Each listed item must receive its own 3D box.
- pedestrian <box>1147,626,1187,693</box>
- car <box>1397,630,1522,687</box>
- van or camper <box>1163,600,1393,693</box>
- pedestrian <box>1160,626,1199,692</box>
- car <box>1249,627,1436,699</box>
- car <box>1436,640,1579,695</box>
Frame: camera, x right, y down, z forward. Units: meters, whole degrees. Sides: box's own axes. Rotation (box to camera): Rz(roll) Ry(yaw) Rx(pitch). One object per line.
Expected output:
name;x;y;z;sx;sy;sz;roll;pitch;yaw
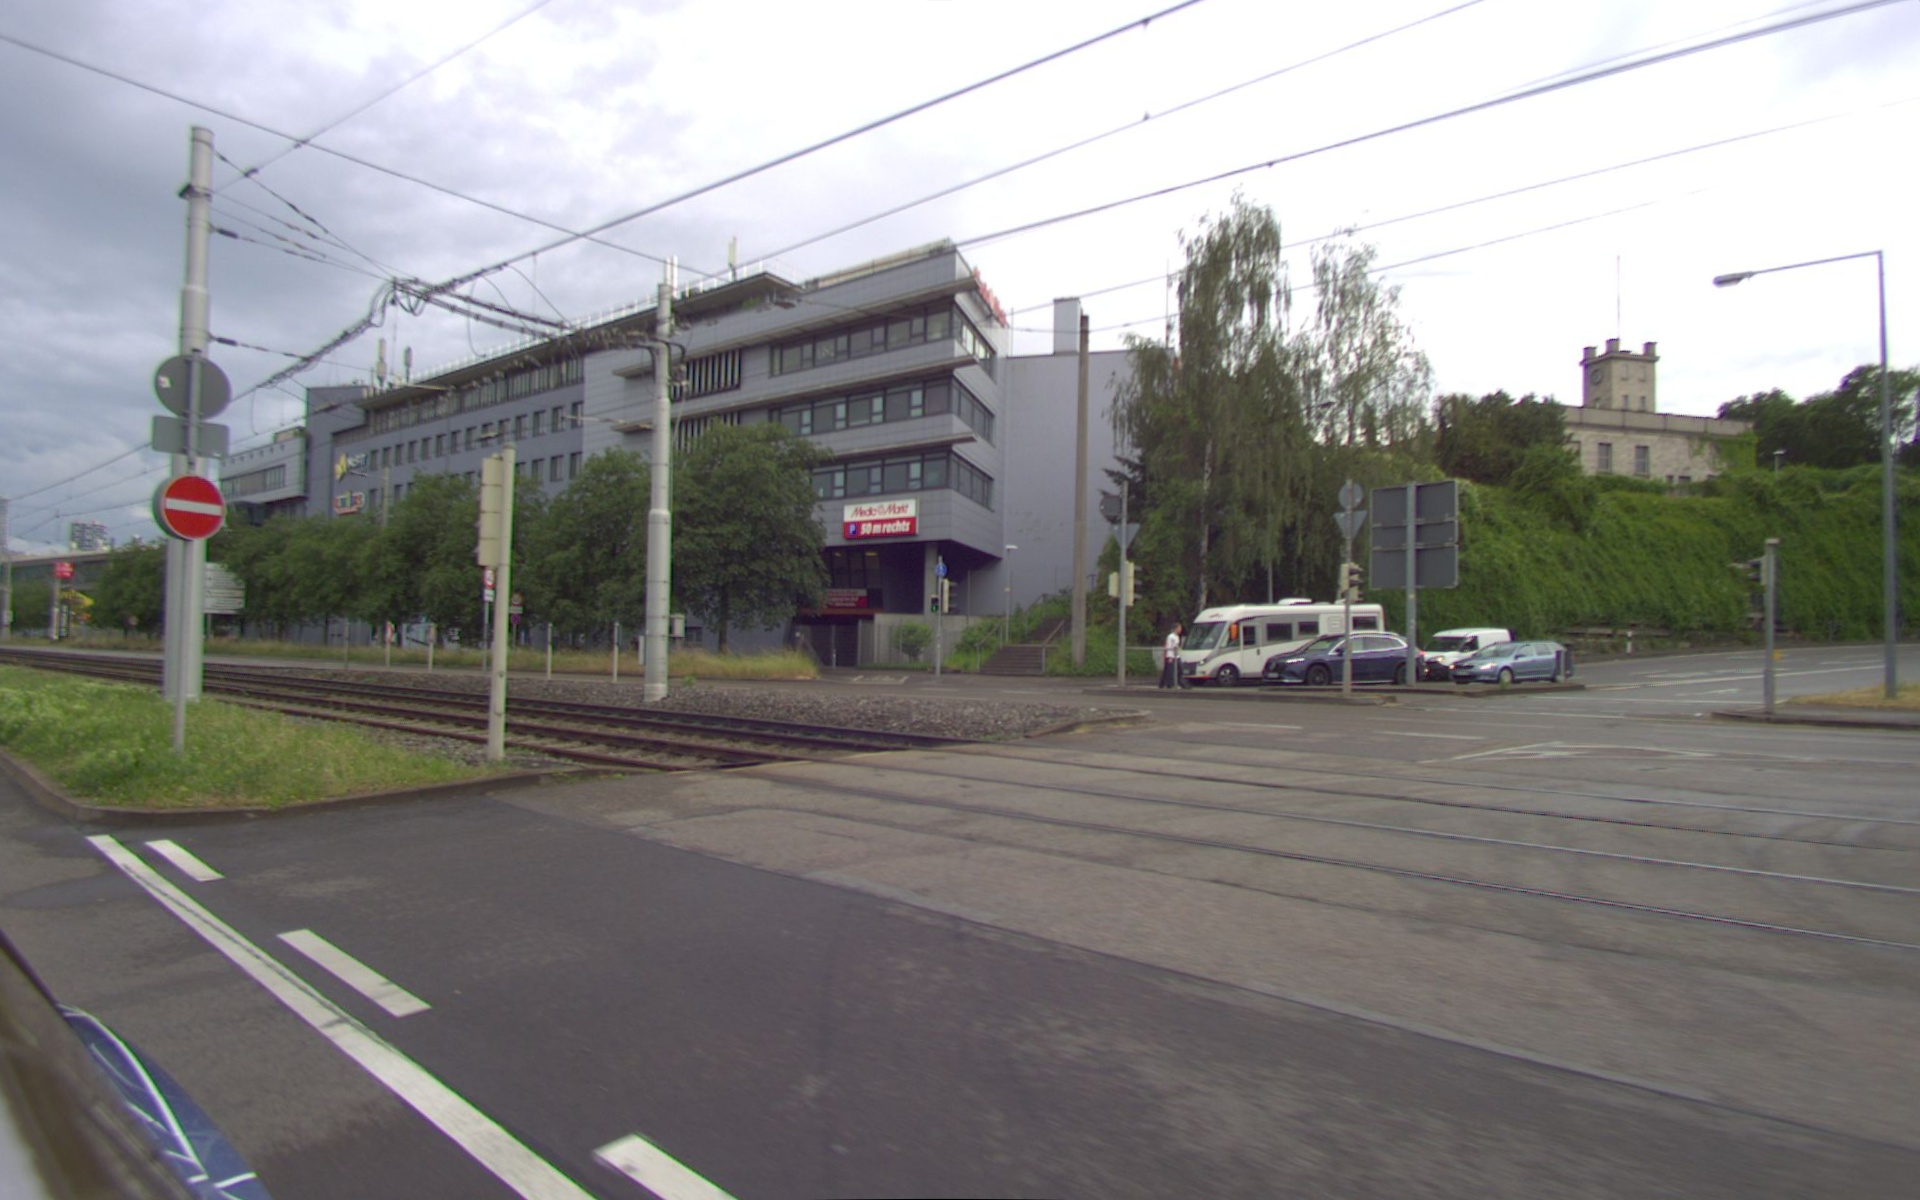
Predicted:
pedestrian;5.654;1.621;27.651;0.812;1.799;0.738;-2;-4;41
car;18.574;2.128;37.658;4.260;1.894;2.006;-1;0;-27
van or camper;11.029;1.512;35.024;7.630;2.905;2.308;-1;0;-18
pedestrian;6.126;1.649;28.238;0.812;1.799;0.738;-2;-4;41
car;11.512;1.841;30.518;5.083;1.894;2.006;-1;0;-17
car;17.782;2.136;32.857;4.260;1.519;2.006;-1;0;-27
